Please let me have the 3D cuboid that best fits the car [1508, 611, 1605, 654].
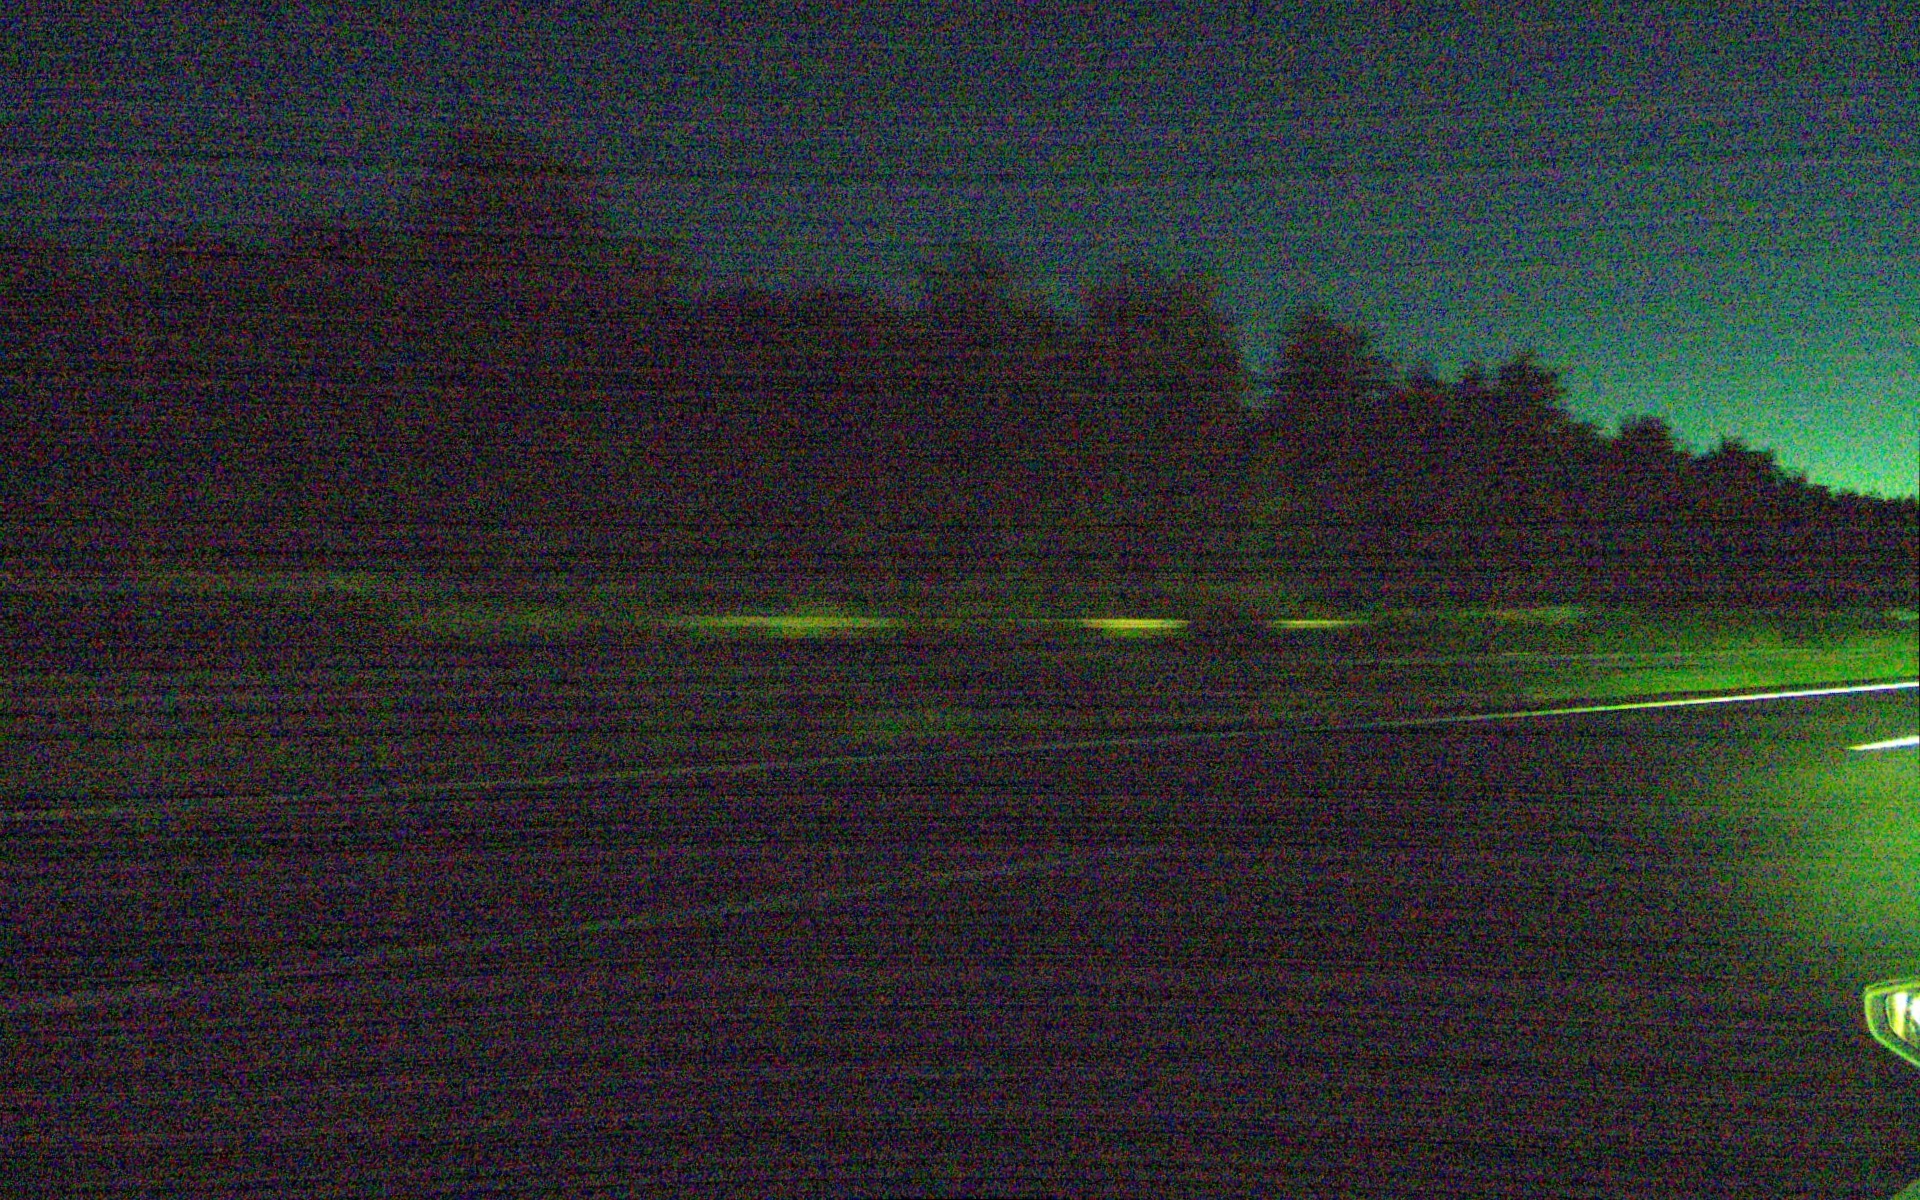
[{"bbox_3d":[25.313,1.352,42.618,4.033,1.749,1.982,1,0,-33],"label":"car"}]
